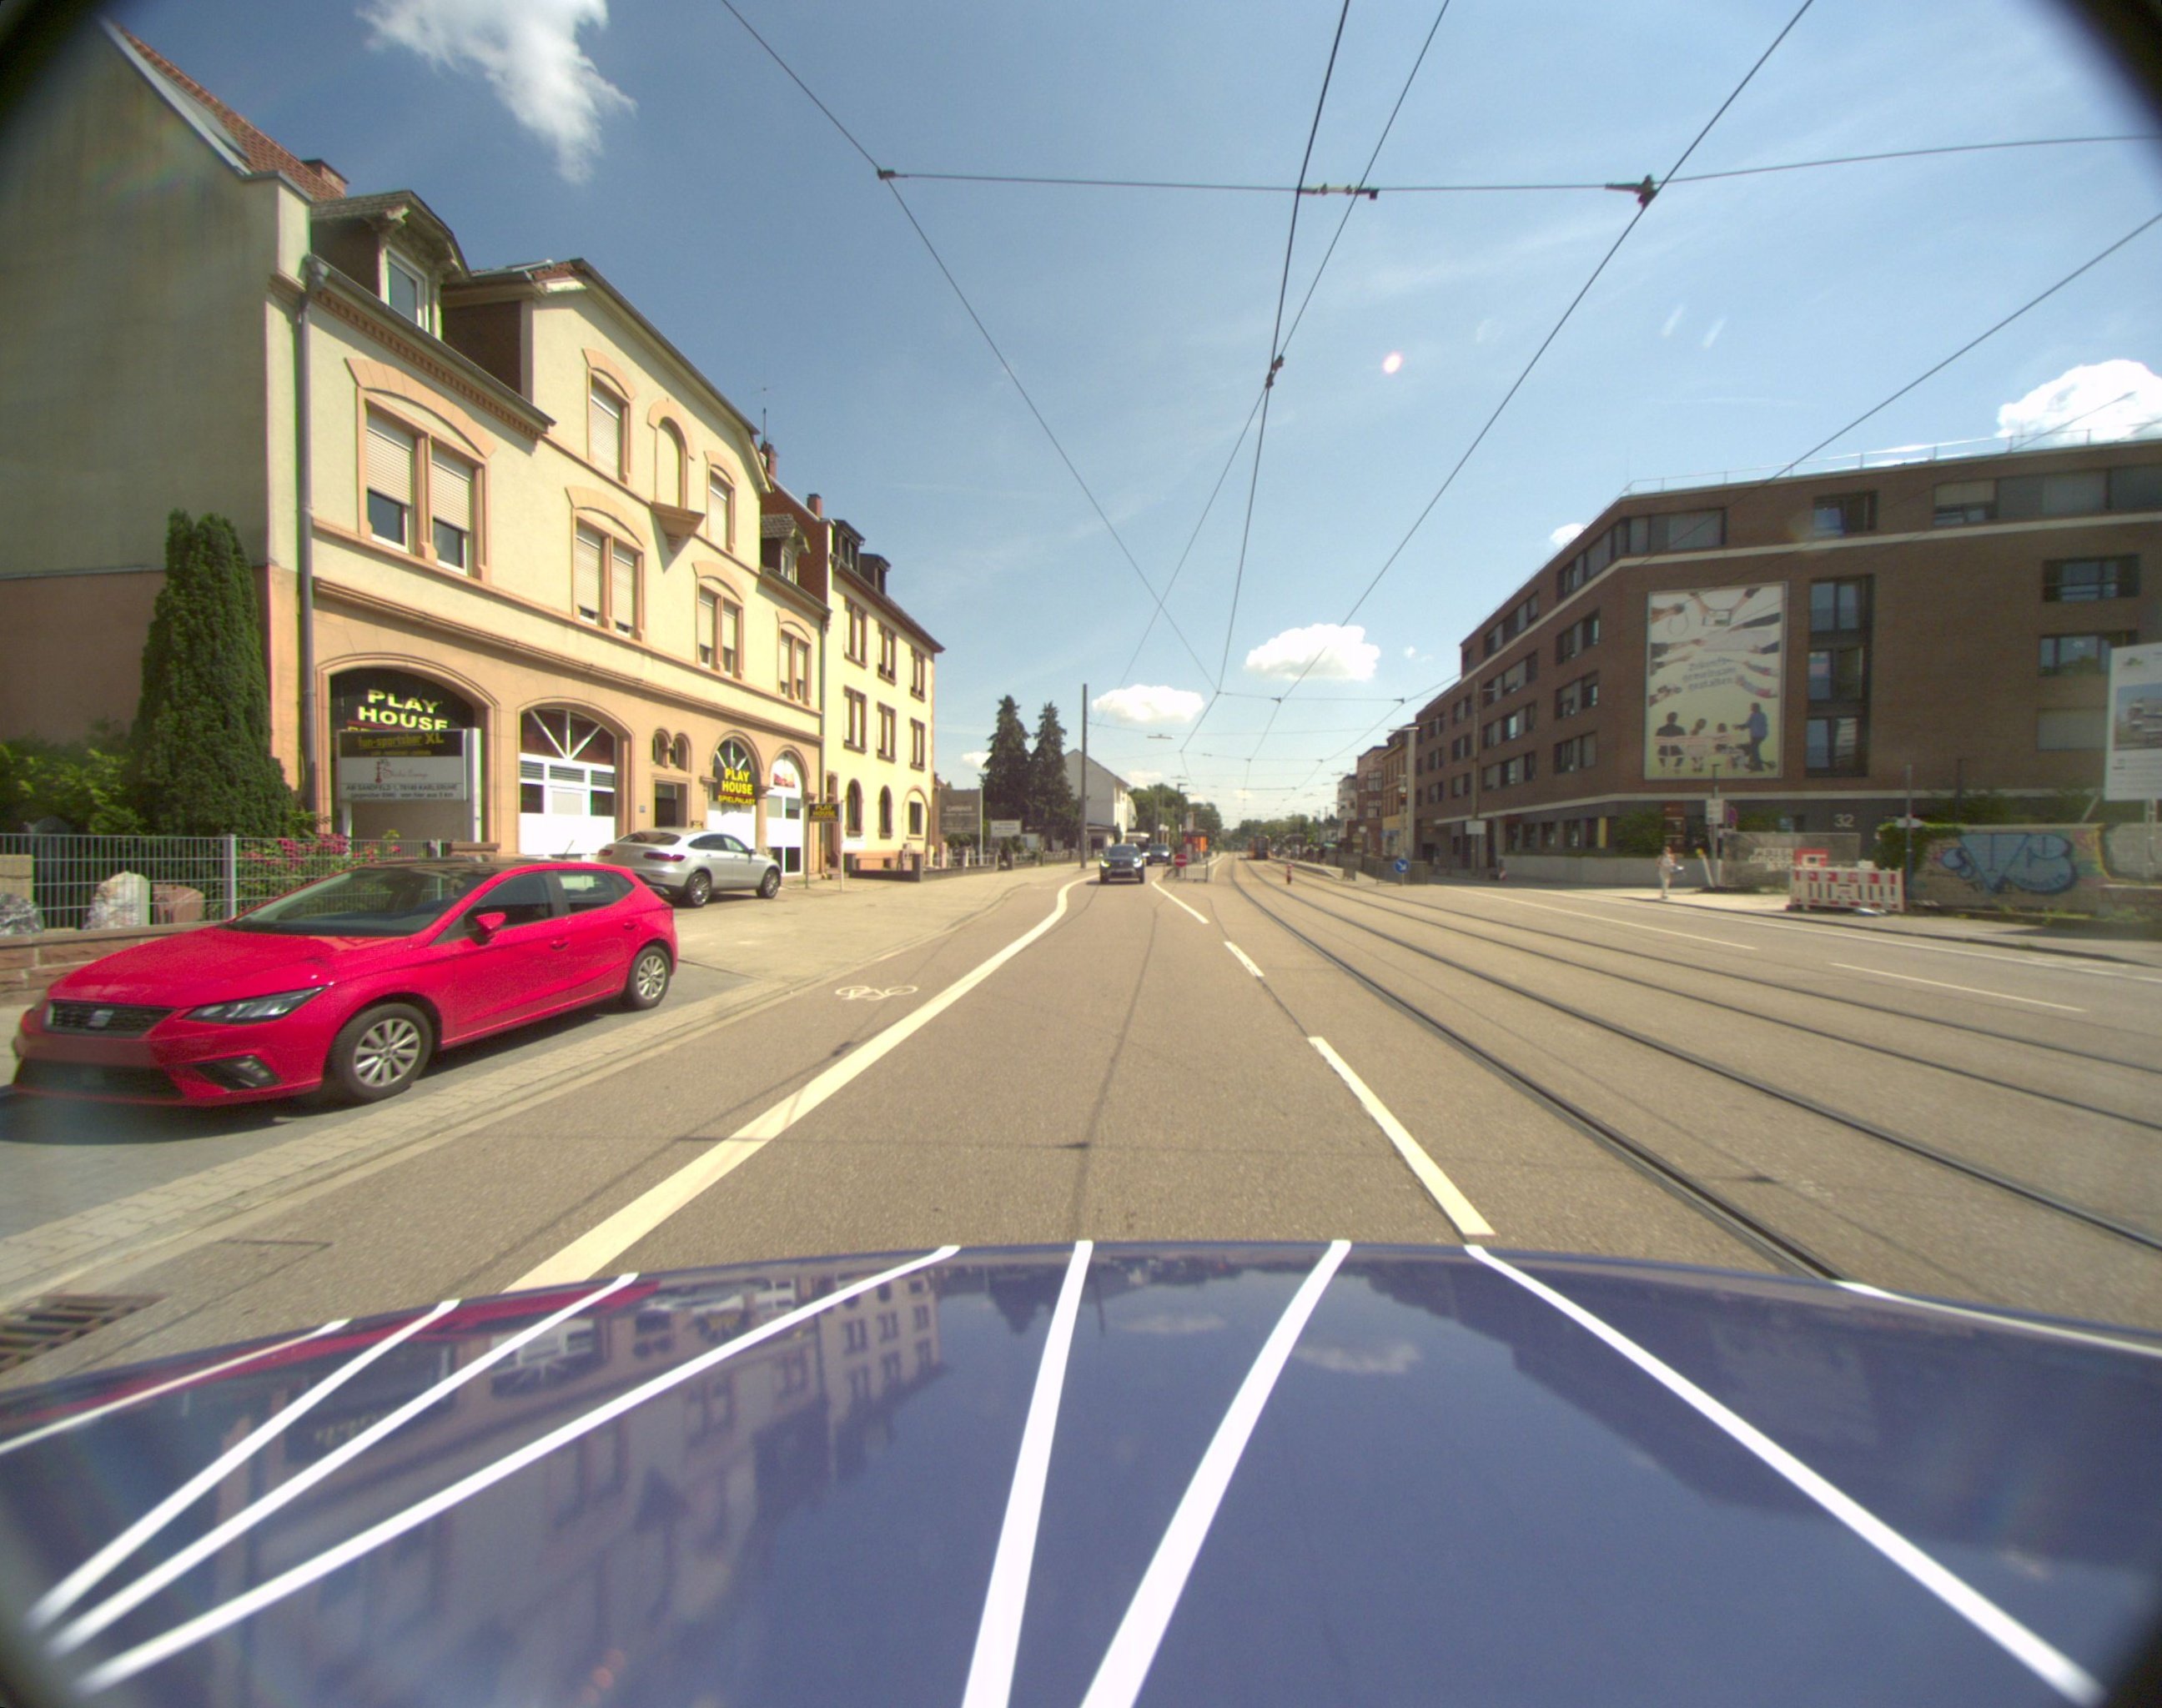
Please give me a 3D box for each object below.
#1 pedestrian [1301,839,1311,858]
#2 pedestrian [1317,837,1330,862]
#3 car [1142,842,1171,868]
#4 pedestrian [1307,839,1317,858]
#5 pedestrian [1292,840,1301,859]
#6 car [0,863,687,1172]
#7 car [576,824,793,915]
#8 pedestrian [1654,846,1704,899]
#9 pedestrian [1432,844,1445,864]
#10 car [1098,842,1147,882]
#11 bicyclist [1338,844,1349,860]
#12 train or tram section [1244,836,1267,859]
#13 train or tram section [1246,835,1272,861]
[{"bbox_3d":[20.673,-0.498,69.919,0.761,1.685,0.809,1,1,10],"label":"pedestrian"},{"bbox_3d":[17.306,-0.312,54.253,0.686,1.750,1.034,1,1,10],"label":"pedestrian"},{"bbox_3d":[6.149,0.043,61.448,1.997,2.002,4.002,1,1,9],"label":"car"},{"bbox_3d":[19.509,-0.445,64.139,0.686,1.587,0.762,1,1,10],"label":"pedestrian"},{"bbox_3d":[19.969,-0.411,70.421,0.761,1.789,0.952,1,1,10],"label":"pedestrian"},{"bbox_3d":[-5.181,0.836,5.800,1.998,1.434,4.018,-1,1,5],"label":"car"},{"bbox_3d":[-8.389,0.253,16.680,1.881,1.615,4.641,3,1,7],"label":"car"},{"bbox_3d":[18.571,0.554,23.635,0.761,1.587,1.000,-3,1,7],"label":"pedestrian"},{"bbox_3d":[28.508,0.024,60.579,0.686,1.587,0.762,1,1,10],"label":"pedestrian"},{"bbox_3d":[1.822,0.282,31.847,1.845,1.565,4.489,0,1,6],"label":"car"},{"bbox_3d":[24.980,-0.206,72.407,0.760,1.496,1.066,0,1,6],"label":"bicyclist"},{"bbox_3d":[29.743,-1.192,129.939,3.255,3.547,20.516,1,1,11],"label":"train or tram section"},{"bbox_3d":[26.077,-0.935,111.810,3.240,3.547,16.361,1,1,11],"label":"train or tram section"}]
